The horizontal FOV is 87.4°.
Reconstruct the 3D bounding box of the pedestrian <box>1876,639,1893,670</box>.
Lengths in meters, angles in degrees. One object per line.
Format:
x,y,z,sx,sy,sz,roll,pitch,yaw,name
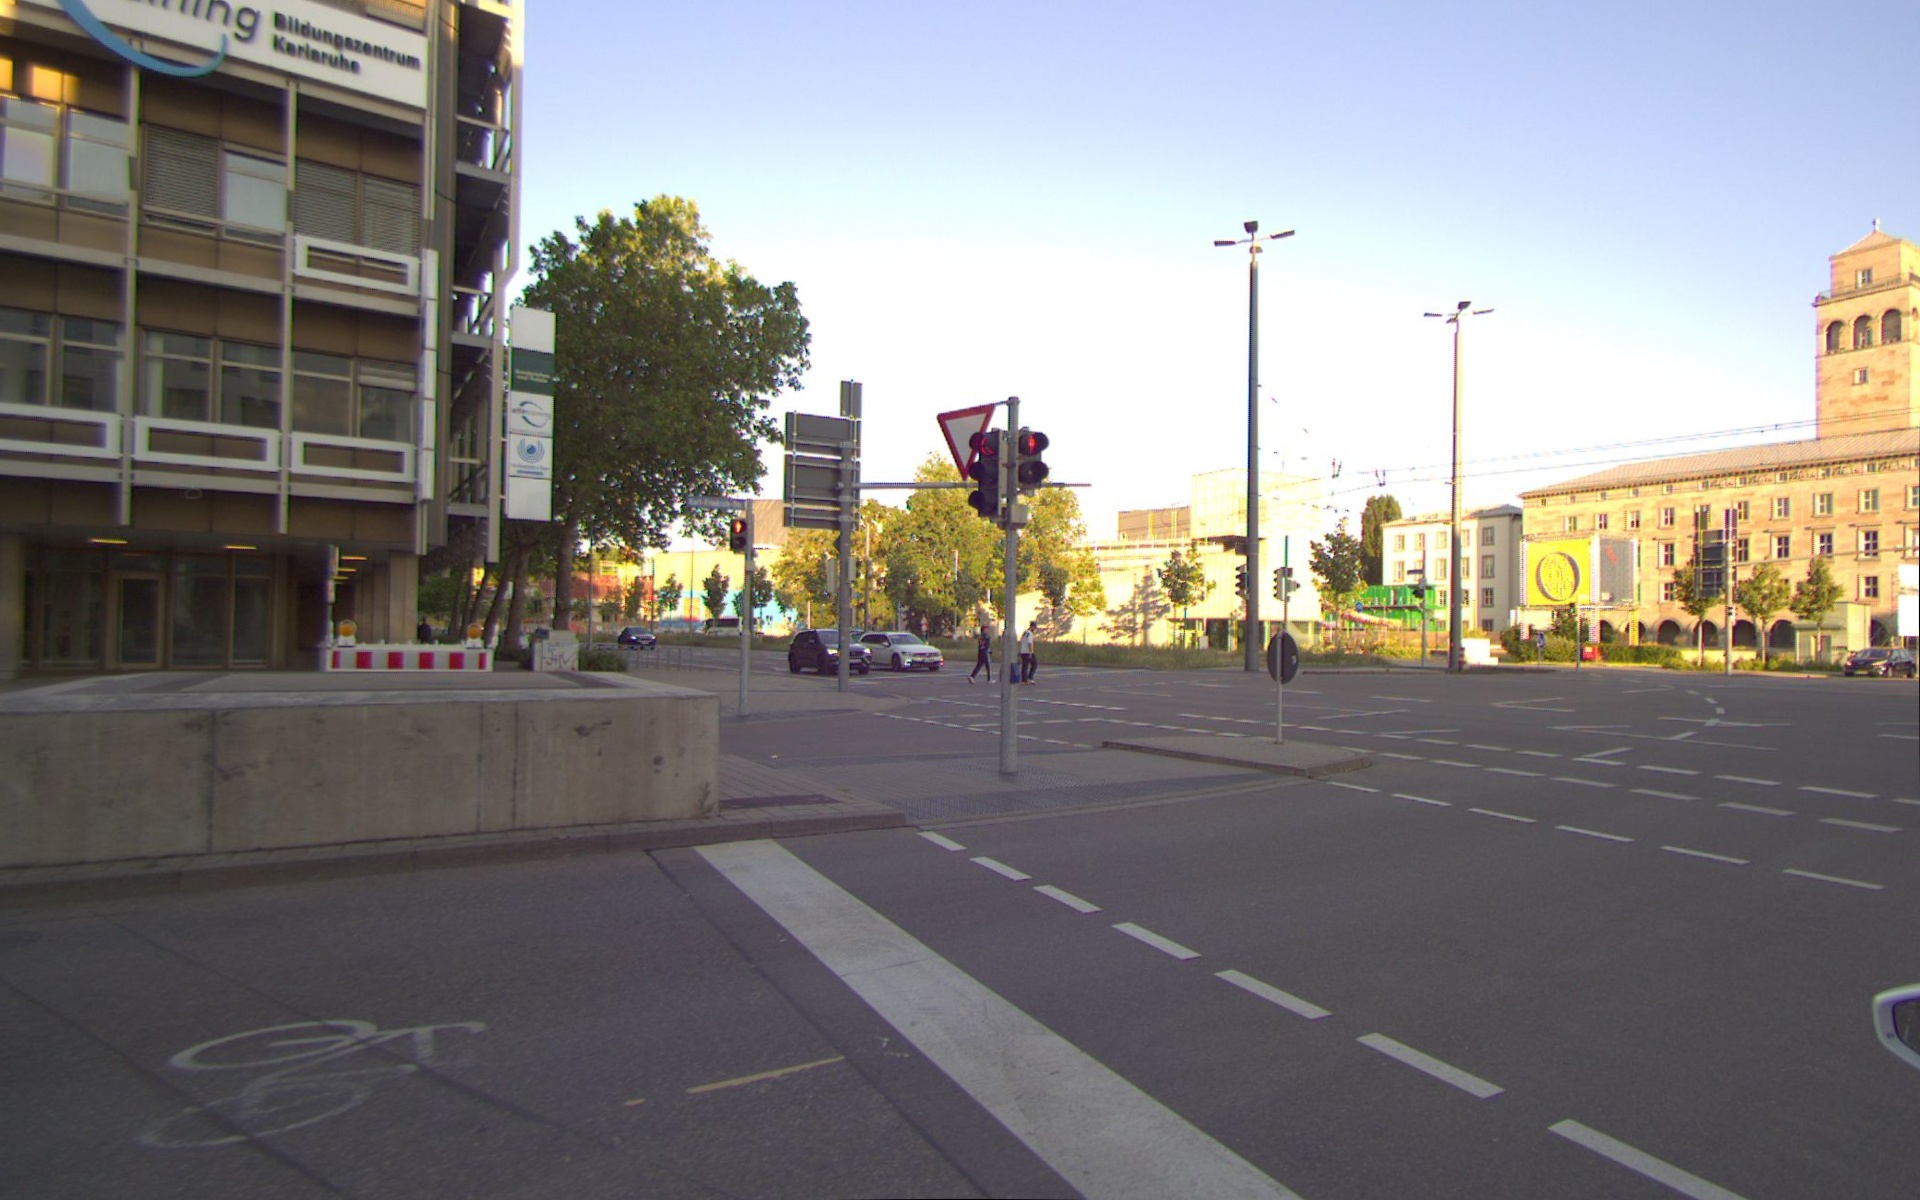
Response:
54.115,3.167,58.804,0.455,1.767,0.617,3,-1,-35,pedestrian

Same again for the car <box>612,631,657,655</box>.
-23.377,3.072,72.138,1.833,1.605,4.546,1,-2,-35,car

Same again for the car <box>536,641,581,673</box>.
-22.425,3.131,56.015,1.722,1.605,4.555,1,-2,-30,car

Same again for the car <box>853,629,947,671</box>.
-2.390,1.885,38.883,1.830,1.476,4.555,1,-2,-30,car

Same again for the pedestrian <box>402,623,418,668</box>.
-25.714,2.118,46.978,0.512,2.040,0.576,3,-1,-34,pedestrian

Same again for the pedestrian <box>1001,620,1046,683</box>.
1.786,1.428,28.114,0.949,1.743,0.816,2,-2,-34,pedestrian

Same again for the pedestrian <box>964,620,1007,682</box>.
0.734,1.451,28.850,0.949,1.743,0.816,2,-2,-34,pedestrian

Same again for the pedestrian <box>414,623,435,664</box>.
-24.874,2.026,46.664,0.749,1.830,0.715,3,-1,-35,pedestrian

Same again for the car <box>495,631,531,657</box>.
-29.640,2.897,66.549,1.722,1.605,3.764,1,-2,-31,car

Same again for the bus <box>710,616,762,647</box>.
-28.387,3.940,126.876,2.959,3.818,10.341,2,-2,-34,bus

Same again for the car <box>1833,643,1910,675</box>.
45.917,2.941,50.608,4.111,1.485,1.813,1,-1,-32,car

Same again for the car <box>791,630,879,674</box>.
-4.593,1.837,36.467,1.830,1.476,3.921,1,-2,-30,car
